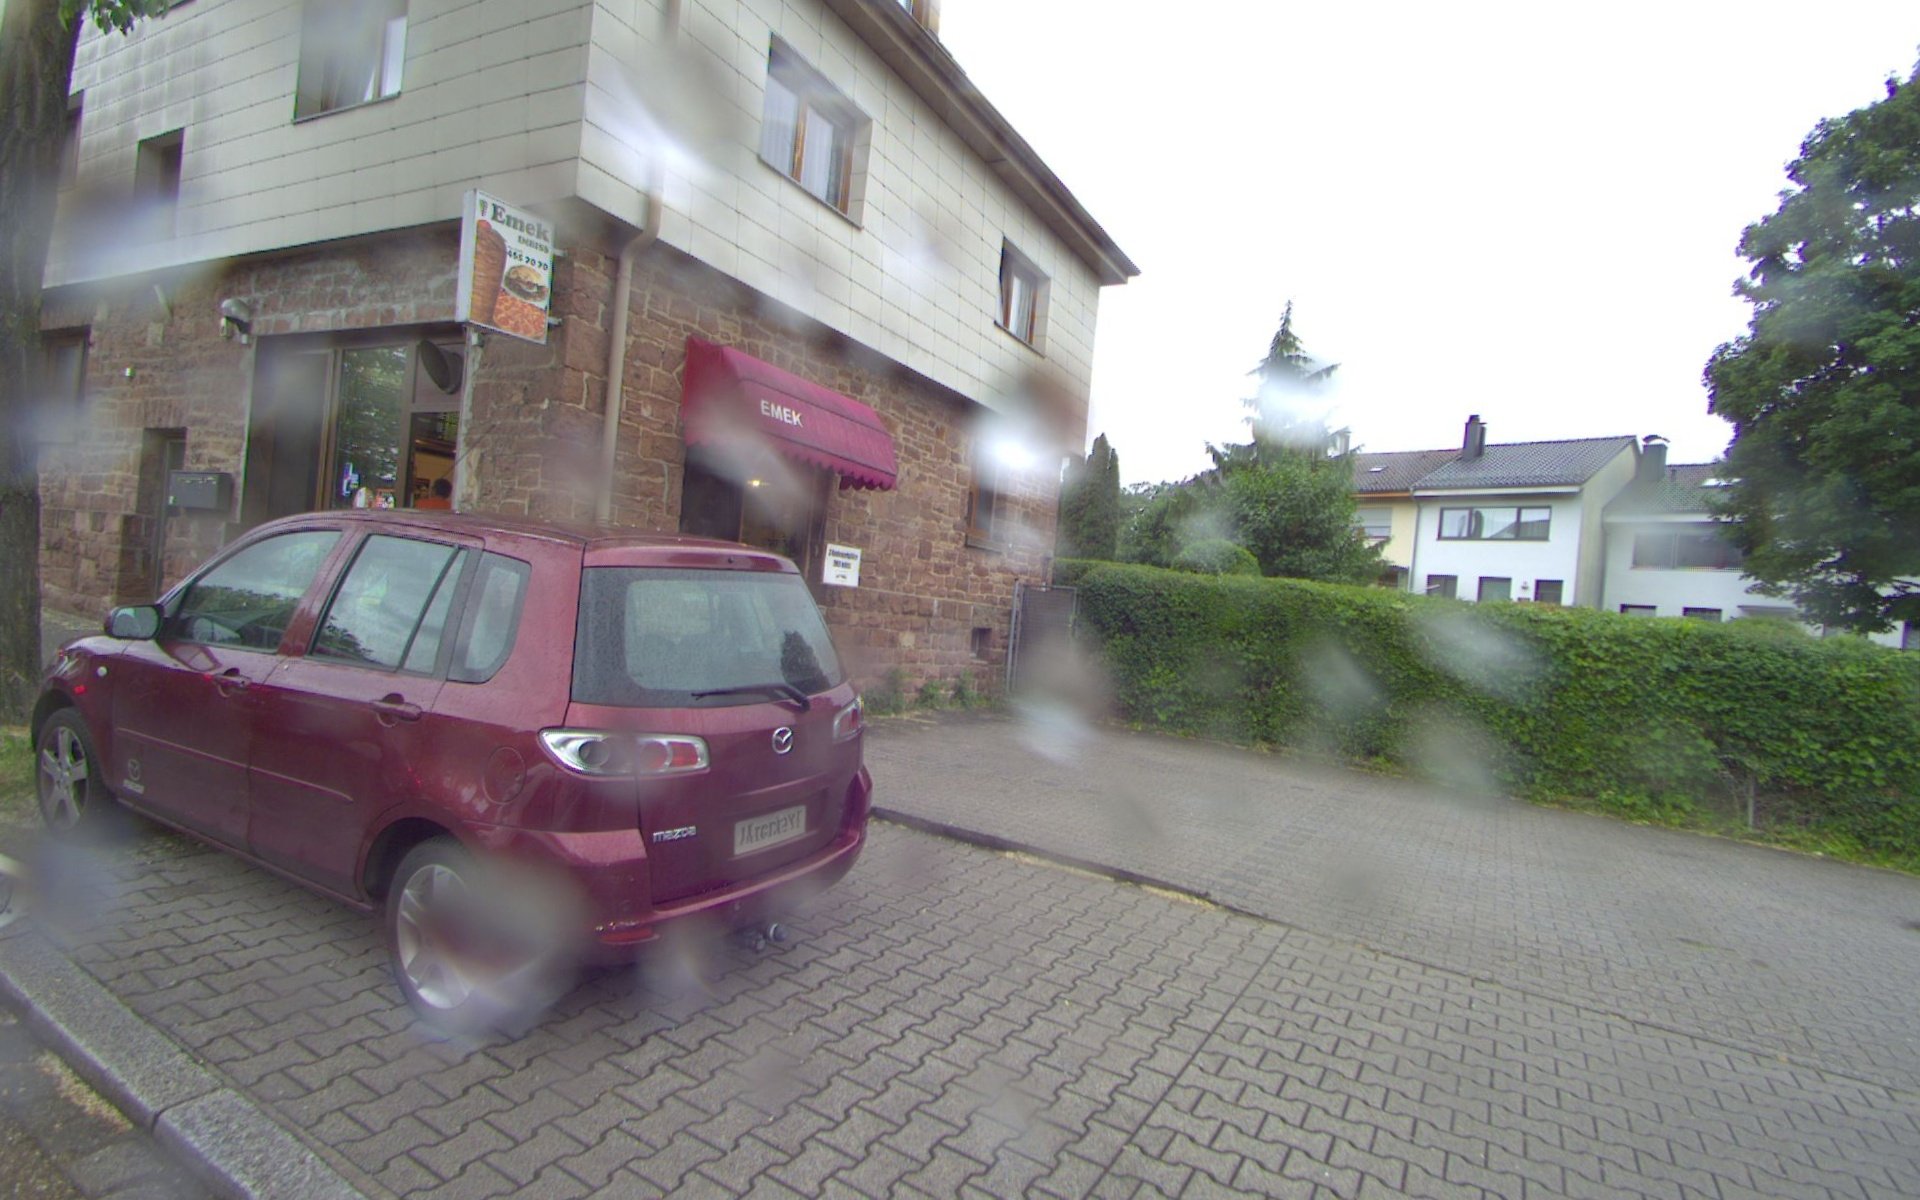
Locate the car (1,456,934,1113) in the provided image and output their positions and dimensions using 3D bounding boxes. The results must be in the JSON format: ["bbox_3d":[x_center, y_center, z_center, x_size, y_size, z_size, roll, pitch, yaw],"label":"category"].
[{"bbox_3d":[-2.099,0.366,4.075,3.565,1.511,1.584,8,3,29],"label":"car"}]

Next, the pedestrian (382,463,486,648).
[{"bbox_3d":[-5.578,-0.459,10.679,0.475,1.862,0.638,7,0,31],"label":"pedestrian"}]
